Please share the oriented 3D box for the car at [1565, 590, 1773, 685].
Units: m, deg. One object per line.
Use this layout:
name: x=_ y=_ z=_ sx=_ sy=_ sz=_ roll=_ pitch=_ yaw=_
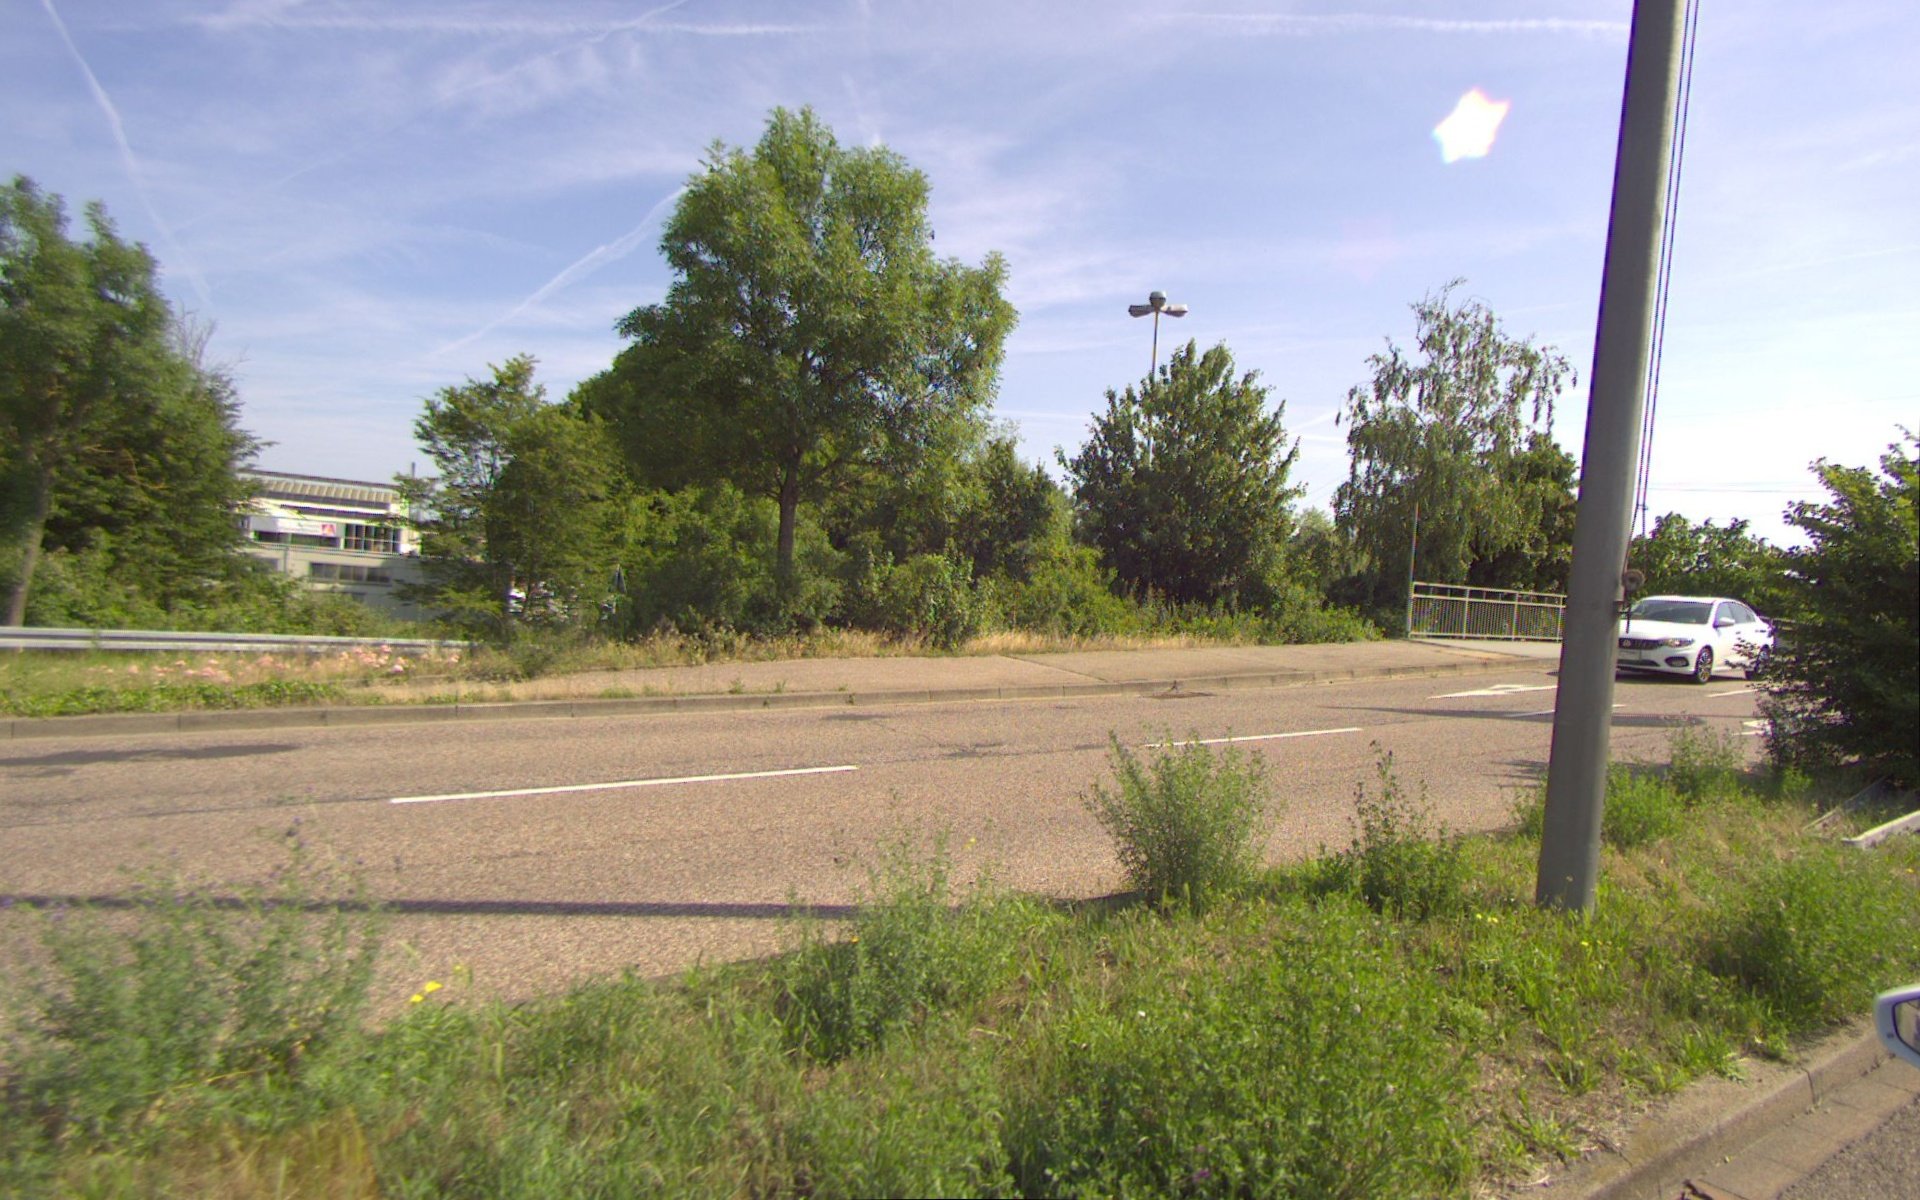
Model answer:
car: x=13.053 y=0.674 z=18.446 sx=3.958 sy=1.572 sz=1.786 roll=2 pitch=0 yaw=-33
